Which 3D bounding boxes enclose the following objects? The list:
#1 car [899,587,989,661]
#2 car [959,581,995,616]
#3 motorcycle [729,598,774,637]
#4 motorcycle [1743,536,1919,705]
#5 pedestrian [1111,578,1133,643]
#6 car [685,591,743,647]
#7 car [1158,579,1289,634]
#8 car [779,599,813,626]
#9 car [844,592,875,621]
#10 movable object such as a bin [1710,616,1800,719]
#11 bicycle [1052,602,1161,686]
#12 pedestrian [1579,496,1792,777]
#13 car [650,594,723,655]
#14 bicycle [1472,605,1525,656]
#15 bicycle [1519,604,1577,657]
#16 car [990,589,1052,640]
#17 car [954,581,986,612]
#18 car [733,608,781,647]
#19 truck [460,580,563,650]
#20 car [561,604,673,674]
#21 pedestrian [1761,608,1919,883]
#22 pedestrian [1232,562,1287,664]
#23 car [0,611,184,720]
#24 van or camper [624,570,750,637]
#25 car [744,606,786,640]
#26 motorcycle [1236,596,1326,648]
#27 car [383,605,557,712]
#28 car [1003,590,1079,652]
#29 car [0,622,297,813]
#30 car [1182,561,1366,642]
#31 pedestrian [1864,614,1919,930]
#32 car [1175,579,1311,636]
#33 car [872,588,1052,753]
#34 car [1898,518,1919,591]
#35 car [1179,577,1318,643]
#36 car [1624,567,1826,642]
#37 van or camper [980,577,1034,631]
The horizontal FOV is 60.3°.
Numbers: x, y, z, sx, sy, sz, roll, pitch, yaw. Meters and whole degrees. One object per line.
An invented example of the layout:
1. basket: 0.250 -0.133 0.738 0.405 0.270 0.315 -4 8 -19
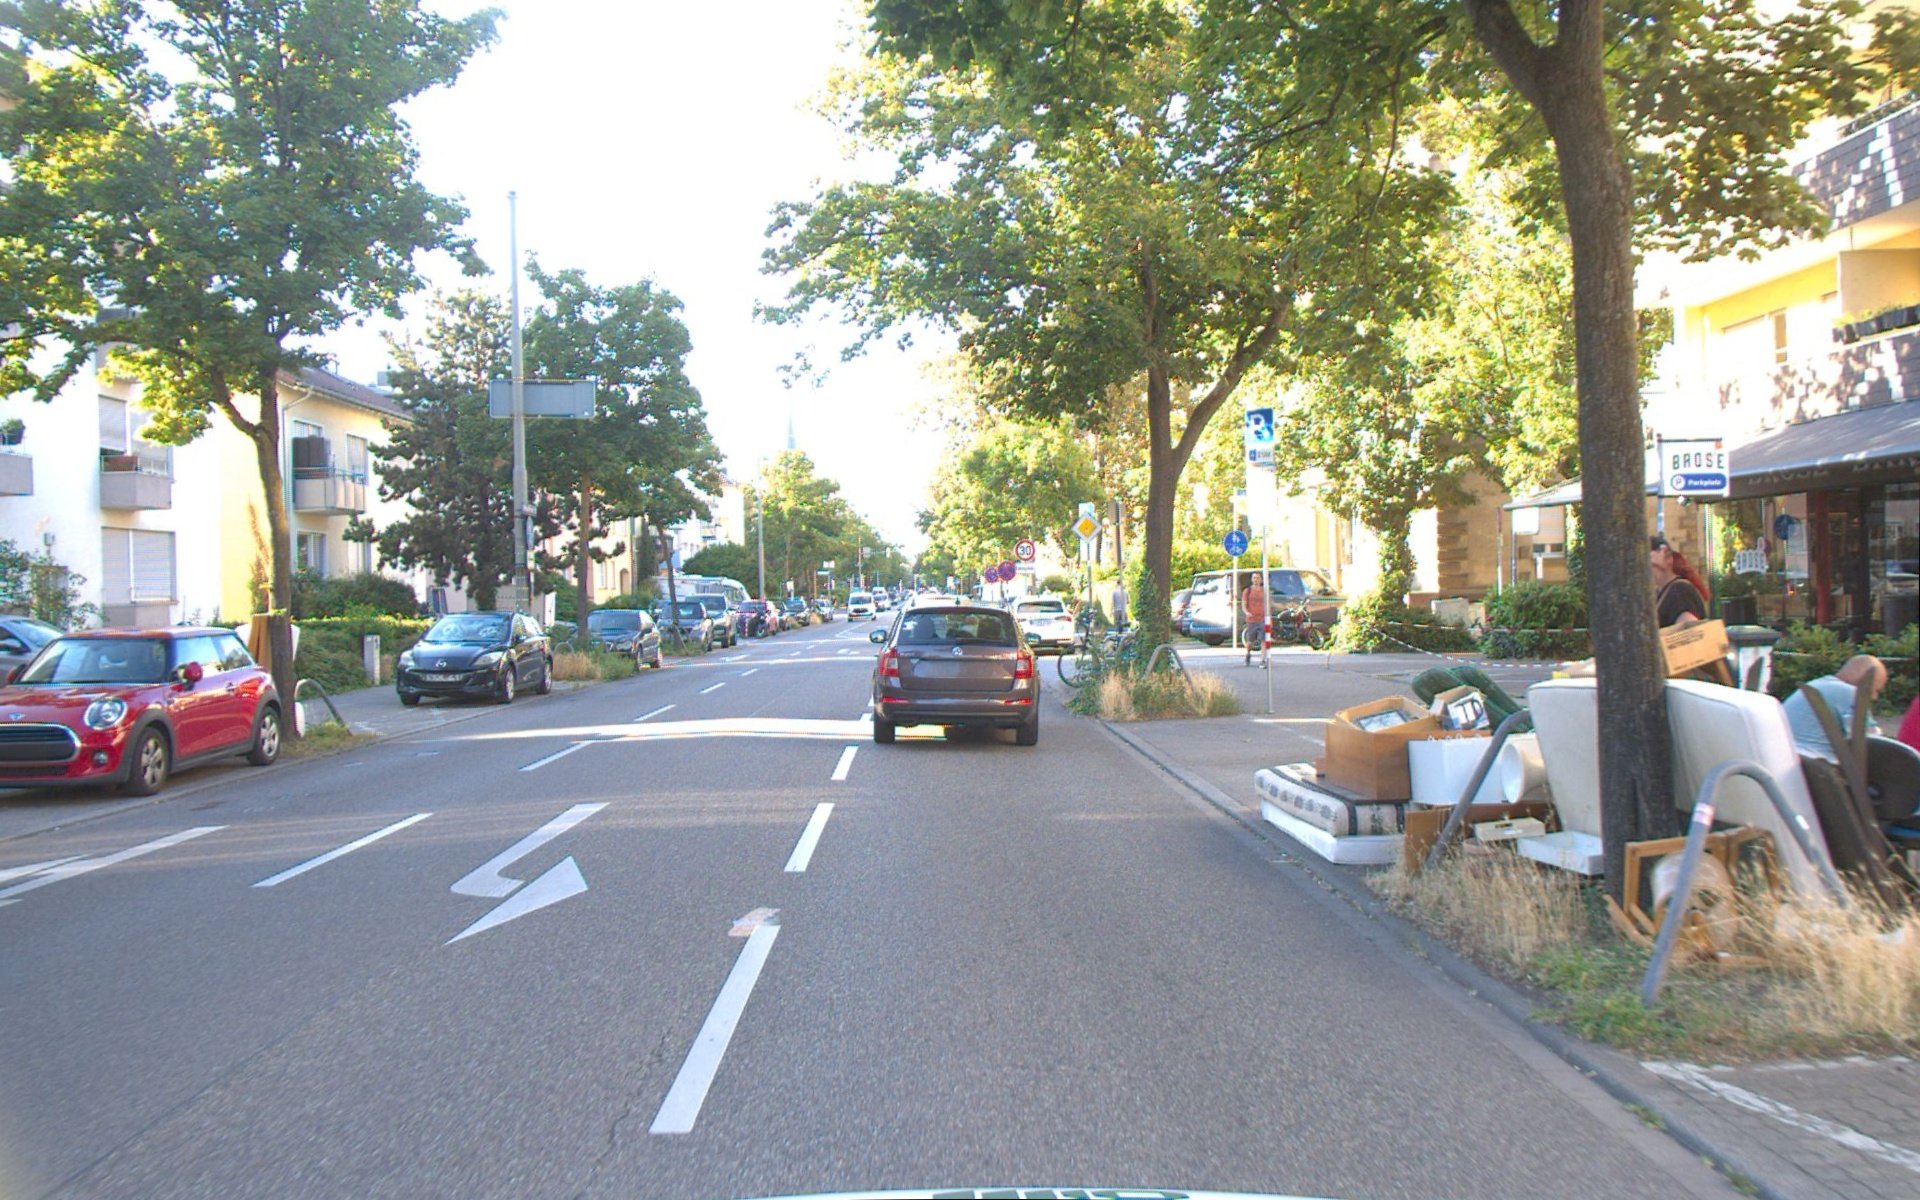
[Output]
1. car: -0.408 0.492 37.159 1.696 1.520 3.947 -1 1 -5
2. car: 0.910 -0.100 89.713 1.695 1.846 3.949 -1 1 -3
3. motorcycle: -8.468 0.703 67.206 0.761 1.538 1.998 -2 1 -43
4. motorcycle: 9.198 0.190 16.744 2.148 1.649 0.731 -1 0 5
5. pedestrian: 4.597 0.282 46.859 0.524 1.825 0.687 -1 0 1
6. car: -8.421 0.611 56.860 1.476 1.788 3.692 -1 1 -1
7. car: 8.079 0.189 50.768 3.749 1.552 1.501 -2 0 -24
8. car: -9.308 0.690 93.831 1.630 1.457 3.274 -1 1 -1
9. car: -6.580 0.420 108.666 1.839 1.788 4.177 -1 1 -1
10. movable object such as a bin: 7.758 0.651 16.158 0.600 0.966 0.539 -1 0 -1
11. bicycle: 2.382 0.711 26.788 1.635 1.247 0.636 -4 0 11
12. pedestrian: 4.068 0.182 9.279 1.047 1.502 0.476 -2 0 -21
13. car: -8.560 0.749 52.018 1.715 1.771 3.590 -1 1 -1
14. bicycle: 10.538 0.590 32.403 0.335 0.967 1.580 1 0 -7
15. bicycle: 11.309 0.576 31.836 0.335 0.967 1.580 -4 0 -7
16. car: 1.830 0.419 51.021 1.783 1.437 4.112 -1 1 1
17. car: 0.598 -0.255 102.198 1.695 1.846 3.949 -1 1 -3
18. car: -8.824 1.173 72.151 1.630 1.538 4.177 -1 1 -1
19. truck: -14.480 0.466 53.483 2.855 2.130 1.545 -1 1 -2
20. car: -8.011 0.880 39.019 1.718 1.445 4.425 -1 1 -1
21. pedestrian: 4.363 0.692 8.161 0.639 1.276 0.658 -1 0 19
22. pedestrian: 5.491 0.234 30.374 0.741 1.827 0.905 -1 0 -6
23. car: -13.882 0.945 24.413 3.909 1.505 1.998 0 1 -5
24. van or camper: -17.003 0.198 103.169 7.488 3.942 1.999 -1 0 -3
25. car: -9.153 1.075 77.832 1.630 1.457 3.274 -1 1 -1
26. motorcycle: 7.567 0.512 39.052 2.012 1.144 0.525 -1 0 -7
27. car: -8.058 0.907 27.601 1.682 1.523 4.247 -1 1 -1
28. car: 2.030 0.506 42.540 1.783 1.437 4.112 -1 1 1
29. car: -7.787 0.996 15.467 1.682 1.445 3.786 -1 1 -1
30. car: 8.095 0.019 42.596 4.483 1.926 1.896 -2 0 -29
31. pedestrian: 4.298 0.699 6.772 0.781 1.276 0.700 -1 0 -4
32. car: 8.326 0.211 48.651 3.749 1.552 1.501 -2 0 -24
33. car: 0.006 0.665 17.883 1.694 1.520 3.950 -1 1 0
34. car: 20.611 -0.948 32.601 3.278 1.443 1.660 -1 1 -1
35. car: 8.037 0.257 46.029 3.762 1.708 1.496 -2 1 -31
36. car: 17.902 0.096 38.845 3.838 1.612 1.929 -1 1 -1
37. van or camper: 1.851 0.125 66.437 1.953 2.049 3.999 -1 1 -1
